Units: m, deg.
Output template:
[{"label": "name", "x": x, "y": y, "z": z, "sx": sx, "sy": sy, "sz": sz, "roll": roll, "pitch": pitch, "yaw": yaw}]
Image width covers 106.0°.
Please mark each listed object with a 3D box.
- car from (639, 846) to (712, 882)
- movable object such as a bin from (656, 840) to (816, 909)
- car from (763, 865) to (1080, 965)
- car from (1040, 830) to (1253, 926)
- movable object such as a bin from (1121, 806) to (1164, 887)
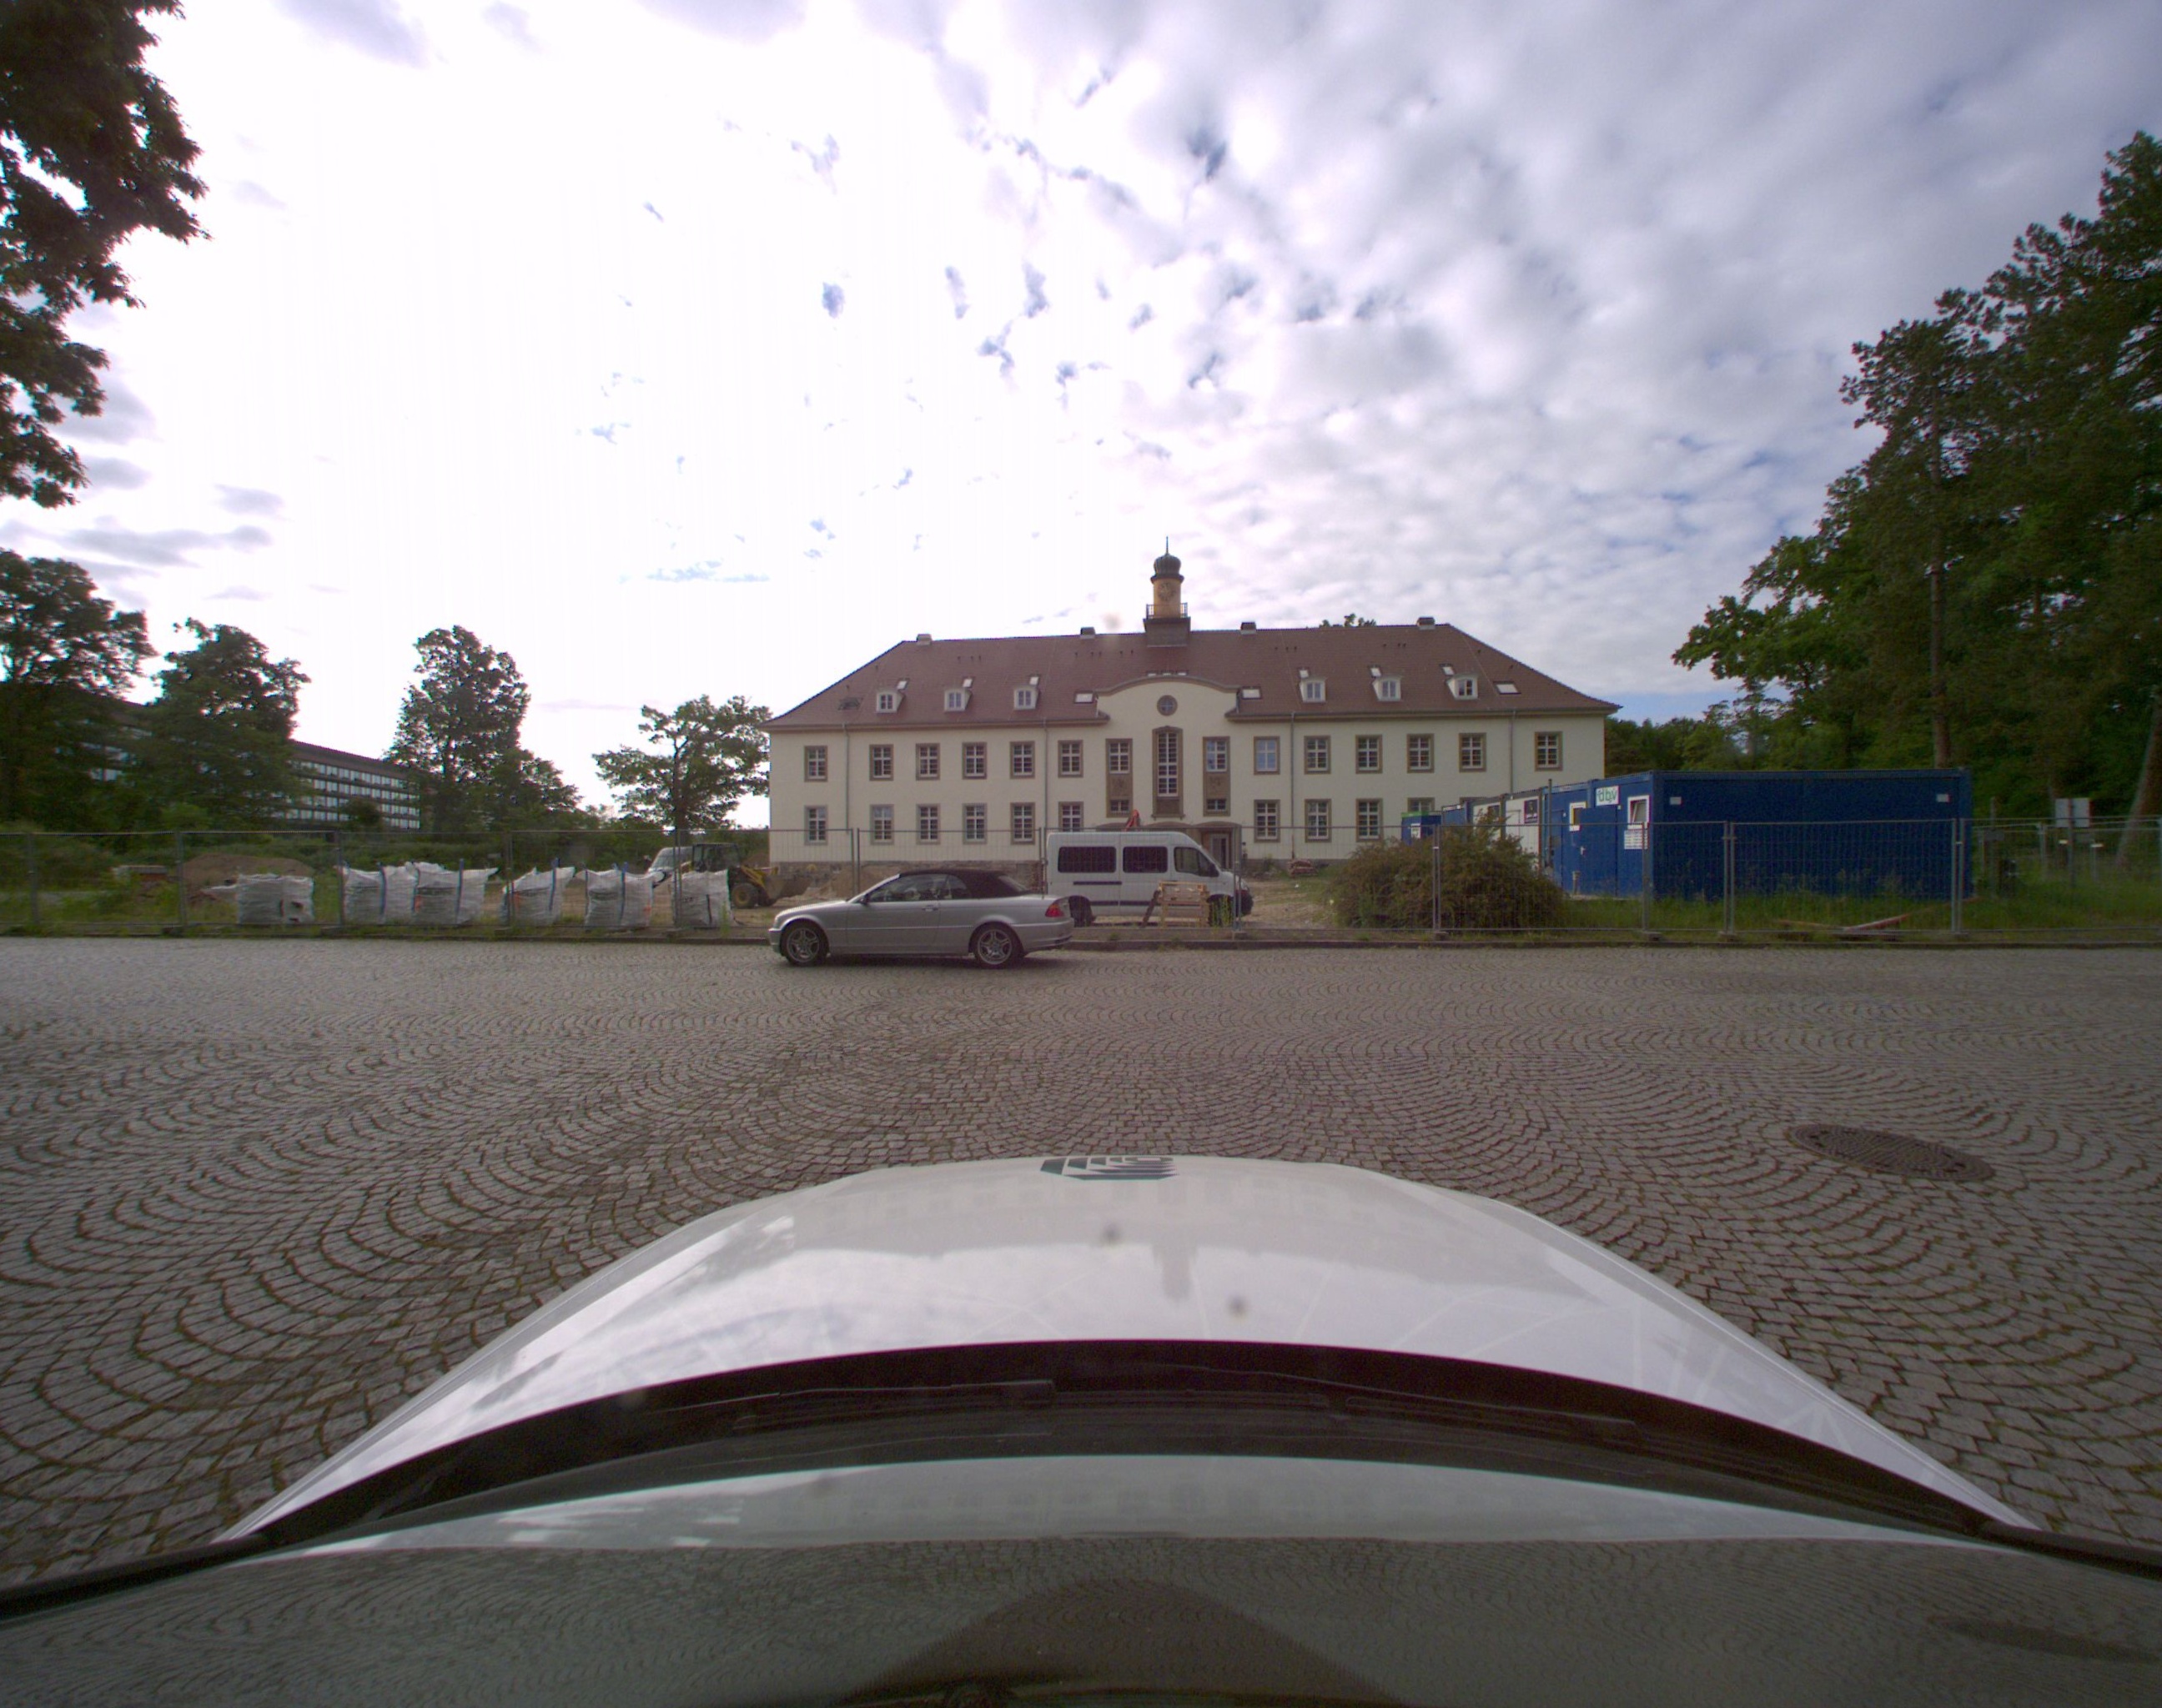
[{"label": "car", "x": -25.081, "y": 0.594, "z": 50.575, "sx": 2.061, "sy": 2.151, "sz": 4.898, "roll": 0, "pitch": 0, "yaw": 0}, {"label": "movable object such as a bin", "x": -13.230, "y": 0.765, "z": 31.380, "sx": 5.305, "sy": 2.556, "sz": 2.002, "roll": 0, "pitch": 0, "yaw": 4}, {"label": "car", "x": -2.202, "y": 0.866, "z": 11.940, "sx": 4.262, "sy": 1.346, "sz": 1.608, "roll": 0, "pitch": -2, "yaw": 3}, {"label": "car", "x": 1.700, "y": 0.594, "z": 21.088, "sx": 5.234, "sy": 2.344, "sz": 1.914, "roll": 0, "pitch": 0, "yaw": 7}, {"label": "movable object such as a bin", "x": 3.005, "y": -0.351, "z": 40.781, "sx": 1.985, "sy": 3.771, "sz": 5.321, "roll": 0, "pitch": 0, "yaw": 3}]
